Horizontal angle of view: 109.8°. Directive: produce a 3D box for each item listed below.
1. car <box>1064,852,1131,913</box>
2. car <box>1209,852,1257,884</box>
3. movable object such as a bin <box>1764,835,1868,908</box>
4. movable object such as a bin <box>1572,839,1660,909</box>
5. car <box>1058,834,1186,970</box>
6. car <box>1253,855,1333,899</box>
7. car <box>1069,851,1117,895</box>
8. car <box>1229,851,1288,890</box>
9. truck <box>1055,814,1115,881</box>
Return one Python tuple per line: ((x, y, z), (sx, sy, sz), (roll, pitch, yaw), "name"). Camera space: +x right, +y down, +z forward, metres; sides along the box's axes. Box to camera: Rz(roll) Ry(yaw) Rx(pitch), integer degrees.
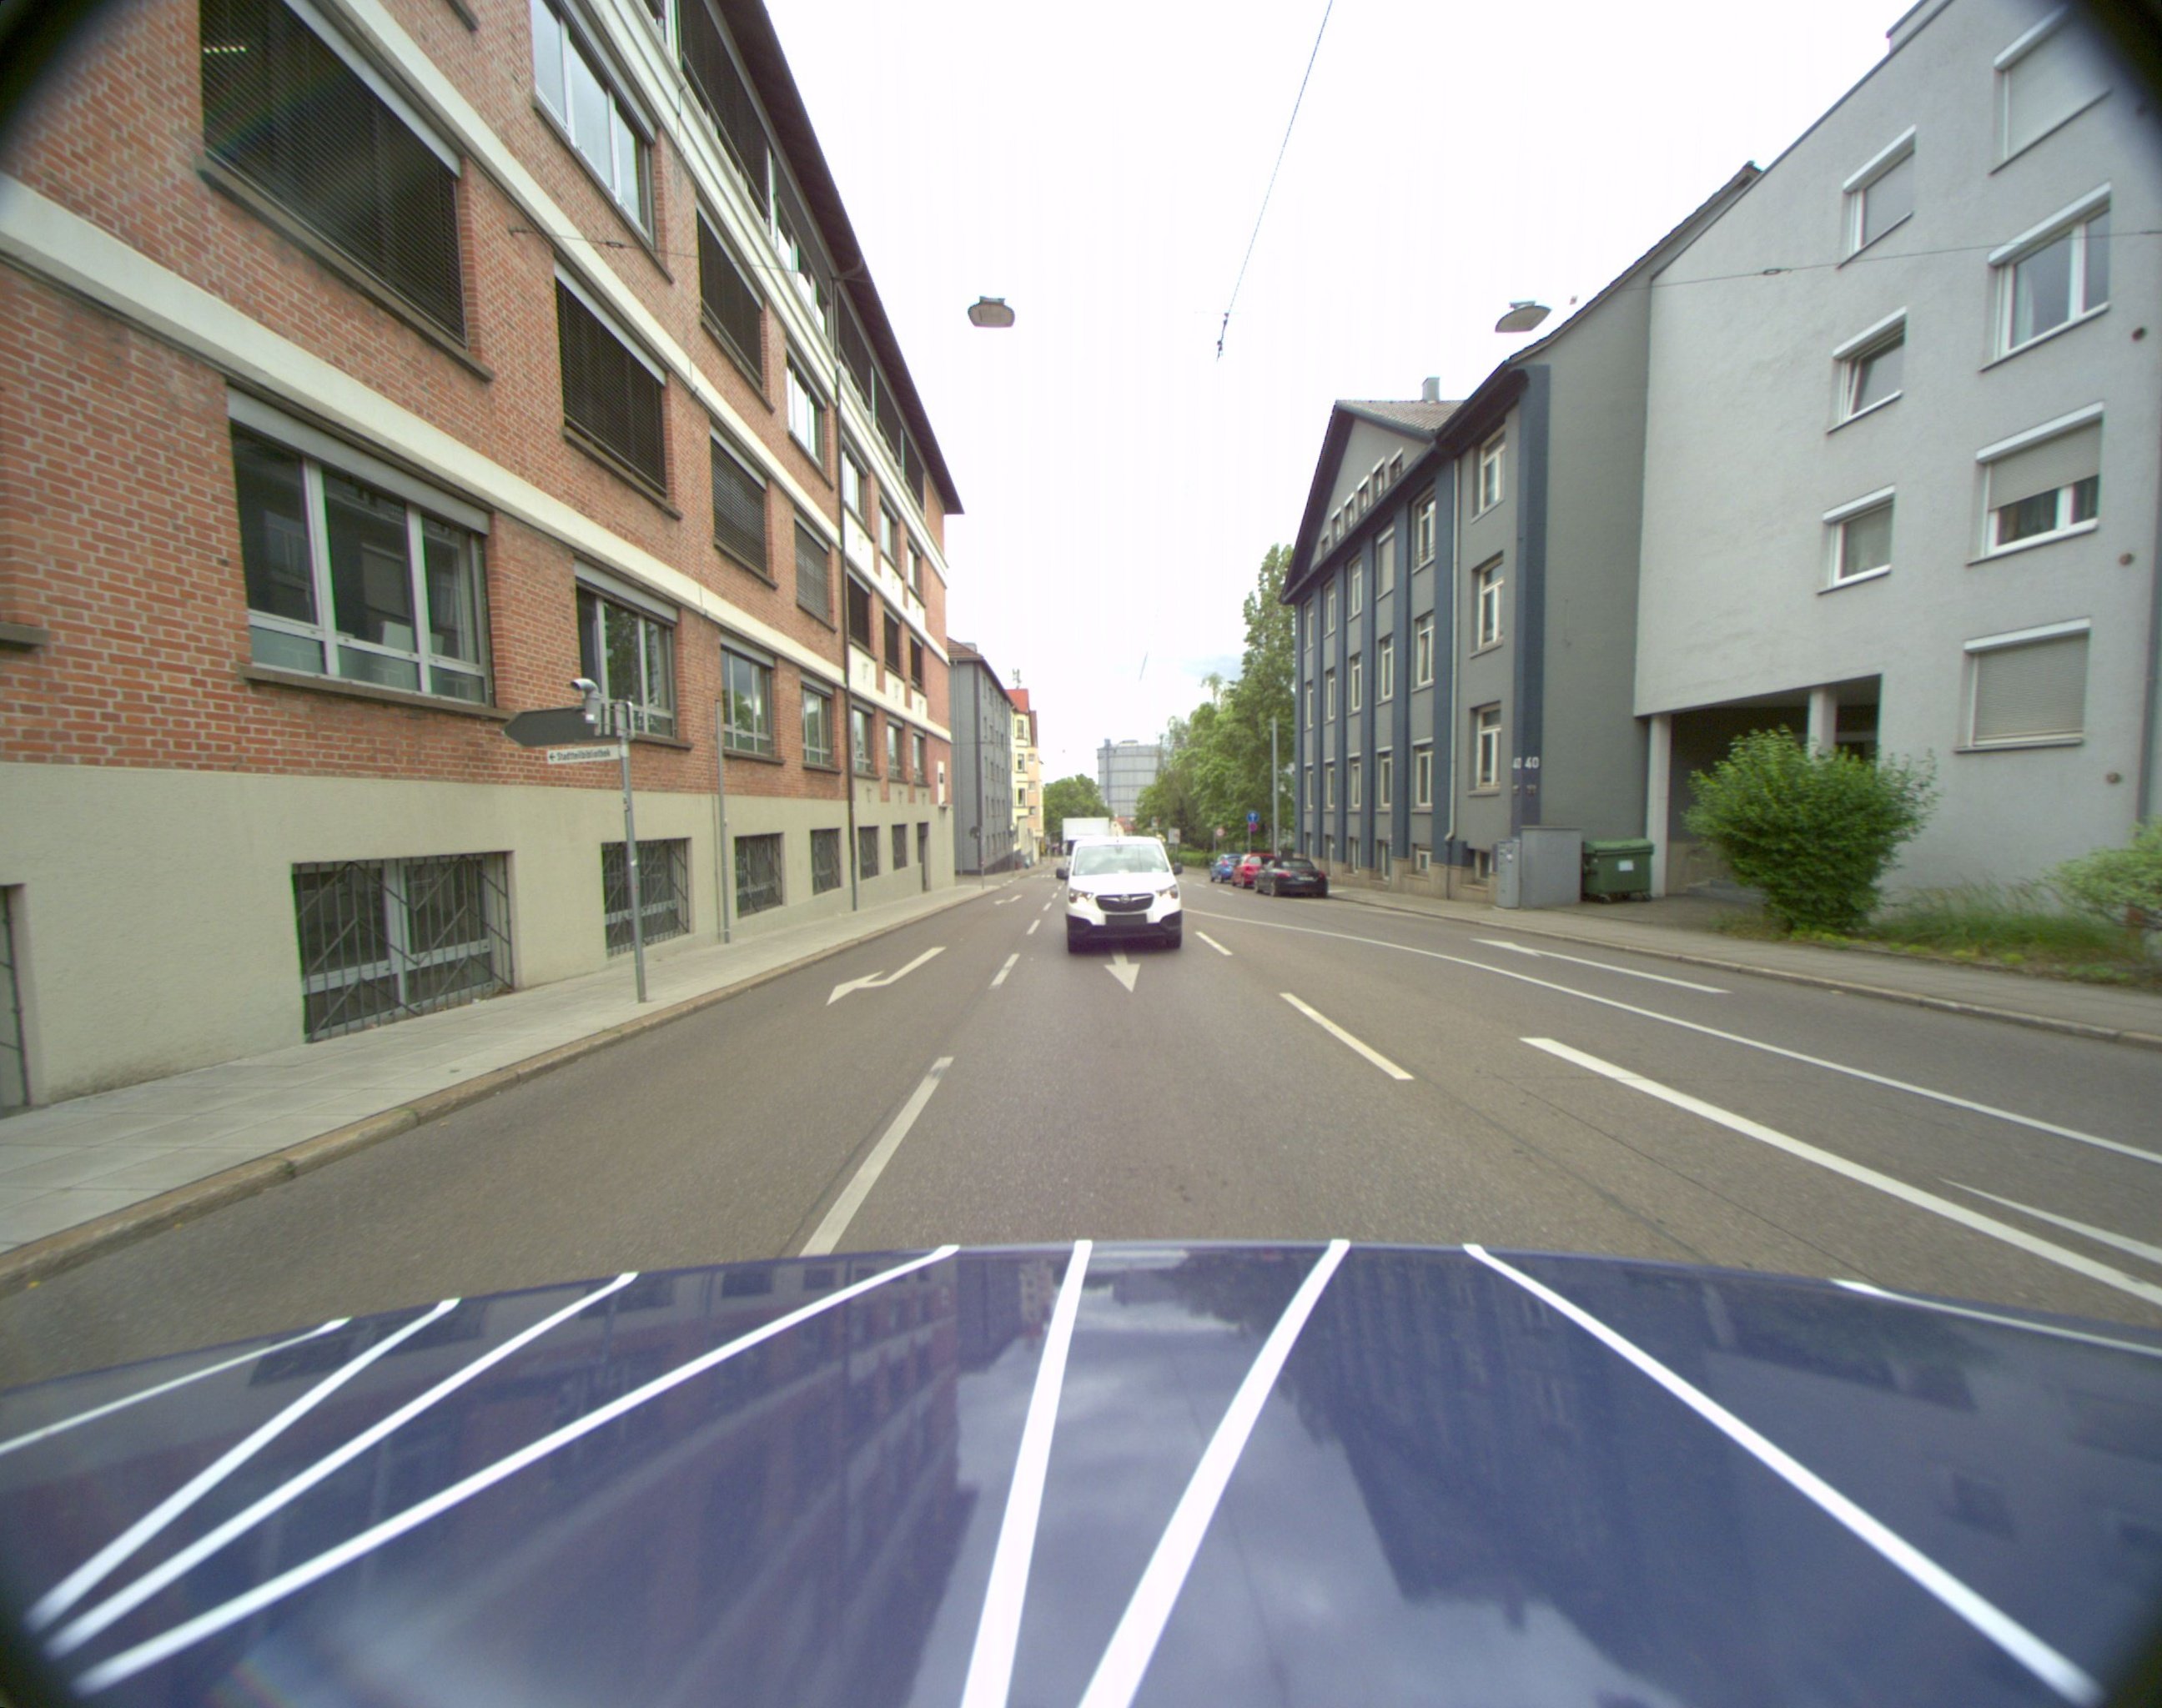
((0.470, 0.773, 22.444), (1.739, 1.520, 3.999), (-2, 1, 1), "car")
((7.558, 0.659, 37.990), (1.644, 1.441, 3.728), (-2, 1, 1), "car")
((14.915, 0.336, 15.452), (1.039, 1.408, 1.078), (-2, 1, 0), "movable object such as a bin")
((12.142, 0.434, 17.287), (1.229, 1.498, 1.040), (-2, 1, 1), "movable object such as a bin")
((0.607, 0.656, 12.792), (1.739, 1.875, 3.999), (-2, 1, 1), "car")
((7.340, 0.750, 26.655), (1.801, 1.384, 3.728), (-1, 1, 1), "car")
((0.471, 0.711, 30.076), (1.739, 1.520, 3.999), (-2, 1, 1), "car")
((7.476, 0.657, 32.330), (1.644, 1.441, 3.728), (-2, 1, 1), "car")
((0.267, -0.391, 44.169), (2.969, 3.409, 8.878), (-2, 1, 1), "truck")
